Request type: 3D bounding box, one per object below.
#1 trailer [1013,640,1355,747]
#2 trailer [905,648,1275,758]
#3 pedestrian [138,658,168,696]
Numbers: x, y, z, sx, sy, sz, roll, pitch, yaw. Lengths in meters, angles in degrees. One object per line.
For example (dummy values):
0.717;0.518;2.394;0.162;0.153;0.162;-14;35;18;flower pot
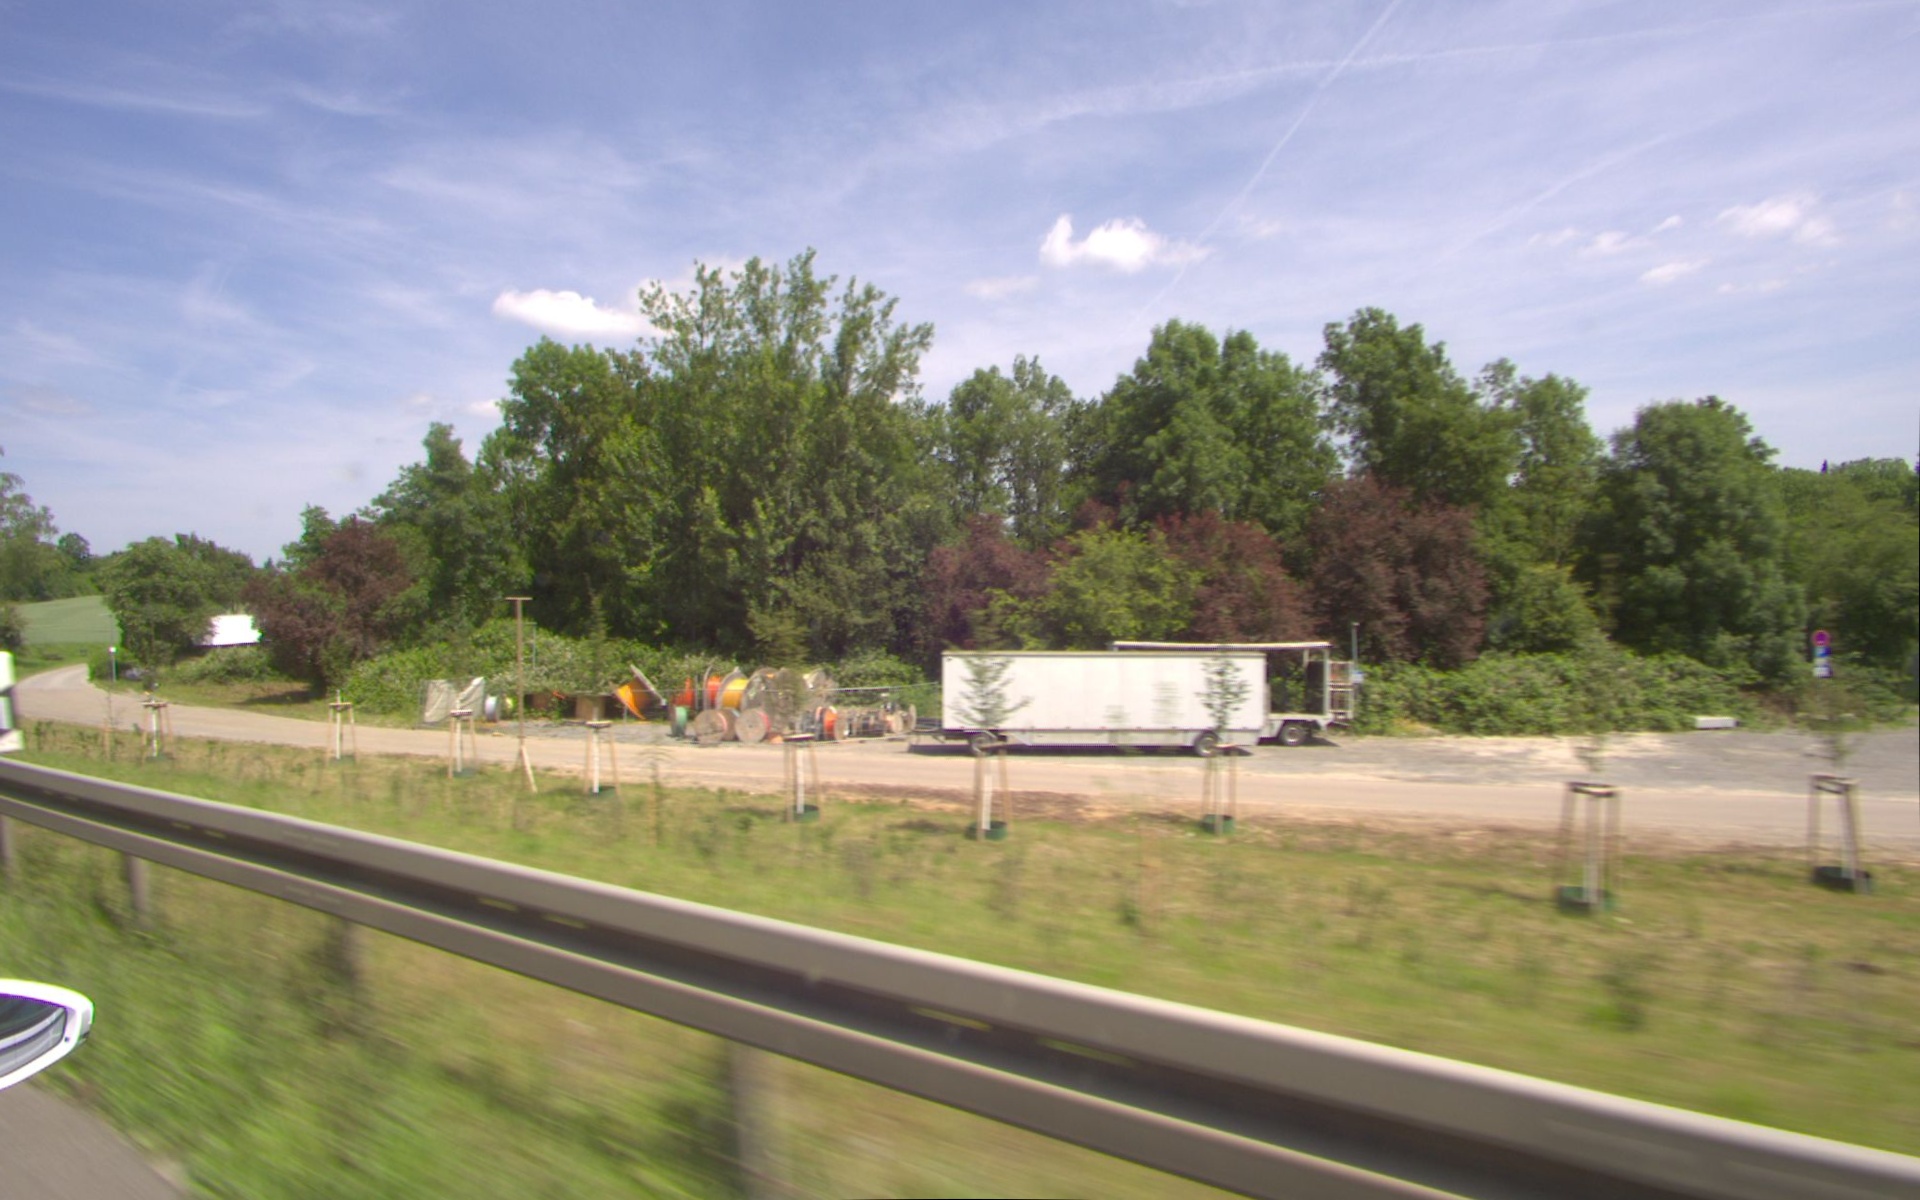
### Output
7.774;3.278;35.943;11.662;3.652;2.729;0;-1;2;trailer
4.096;3.301;32.950;11.662;3.371;2.728;0;-1;0;trailer
-41.723;3.963;51.765;0.946;1.836;0.882;0;3;33;pedestrian
